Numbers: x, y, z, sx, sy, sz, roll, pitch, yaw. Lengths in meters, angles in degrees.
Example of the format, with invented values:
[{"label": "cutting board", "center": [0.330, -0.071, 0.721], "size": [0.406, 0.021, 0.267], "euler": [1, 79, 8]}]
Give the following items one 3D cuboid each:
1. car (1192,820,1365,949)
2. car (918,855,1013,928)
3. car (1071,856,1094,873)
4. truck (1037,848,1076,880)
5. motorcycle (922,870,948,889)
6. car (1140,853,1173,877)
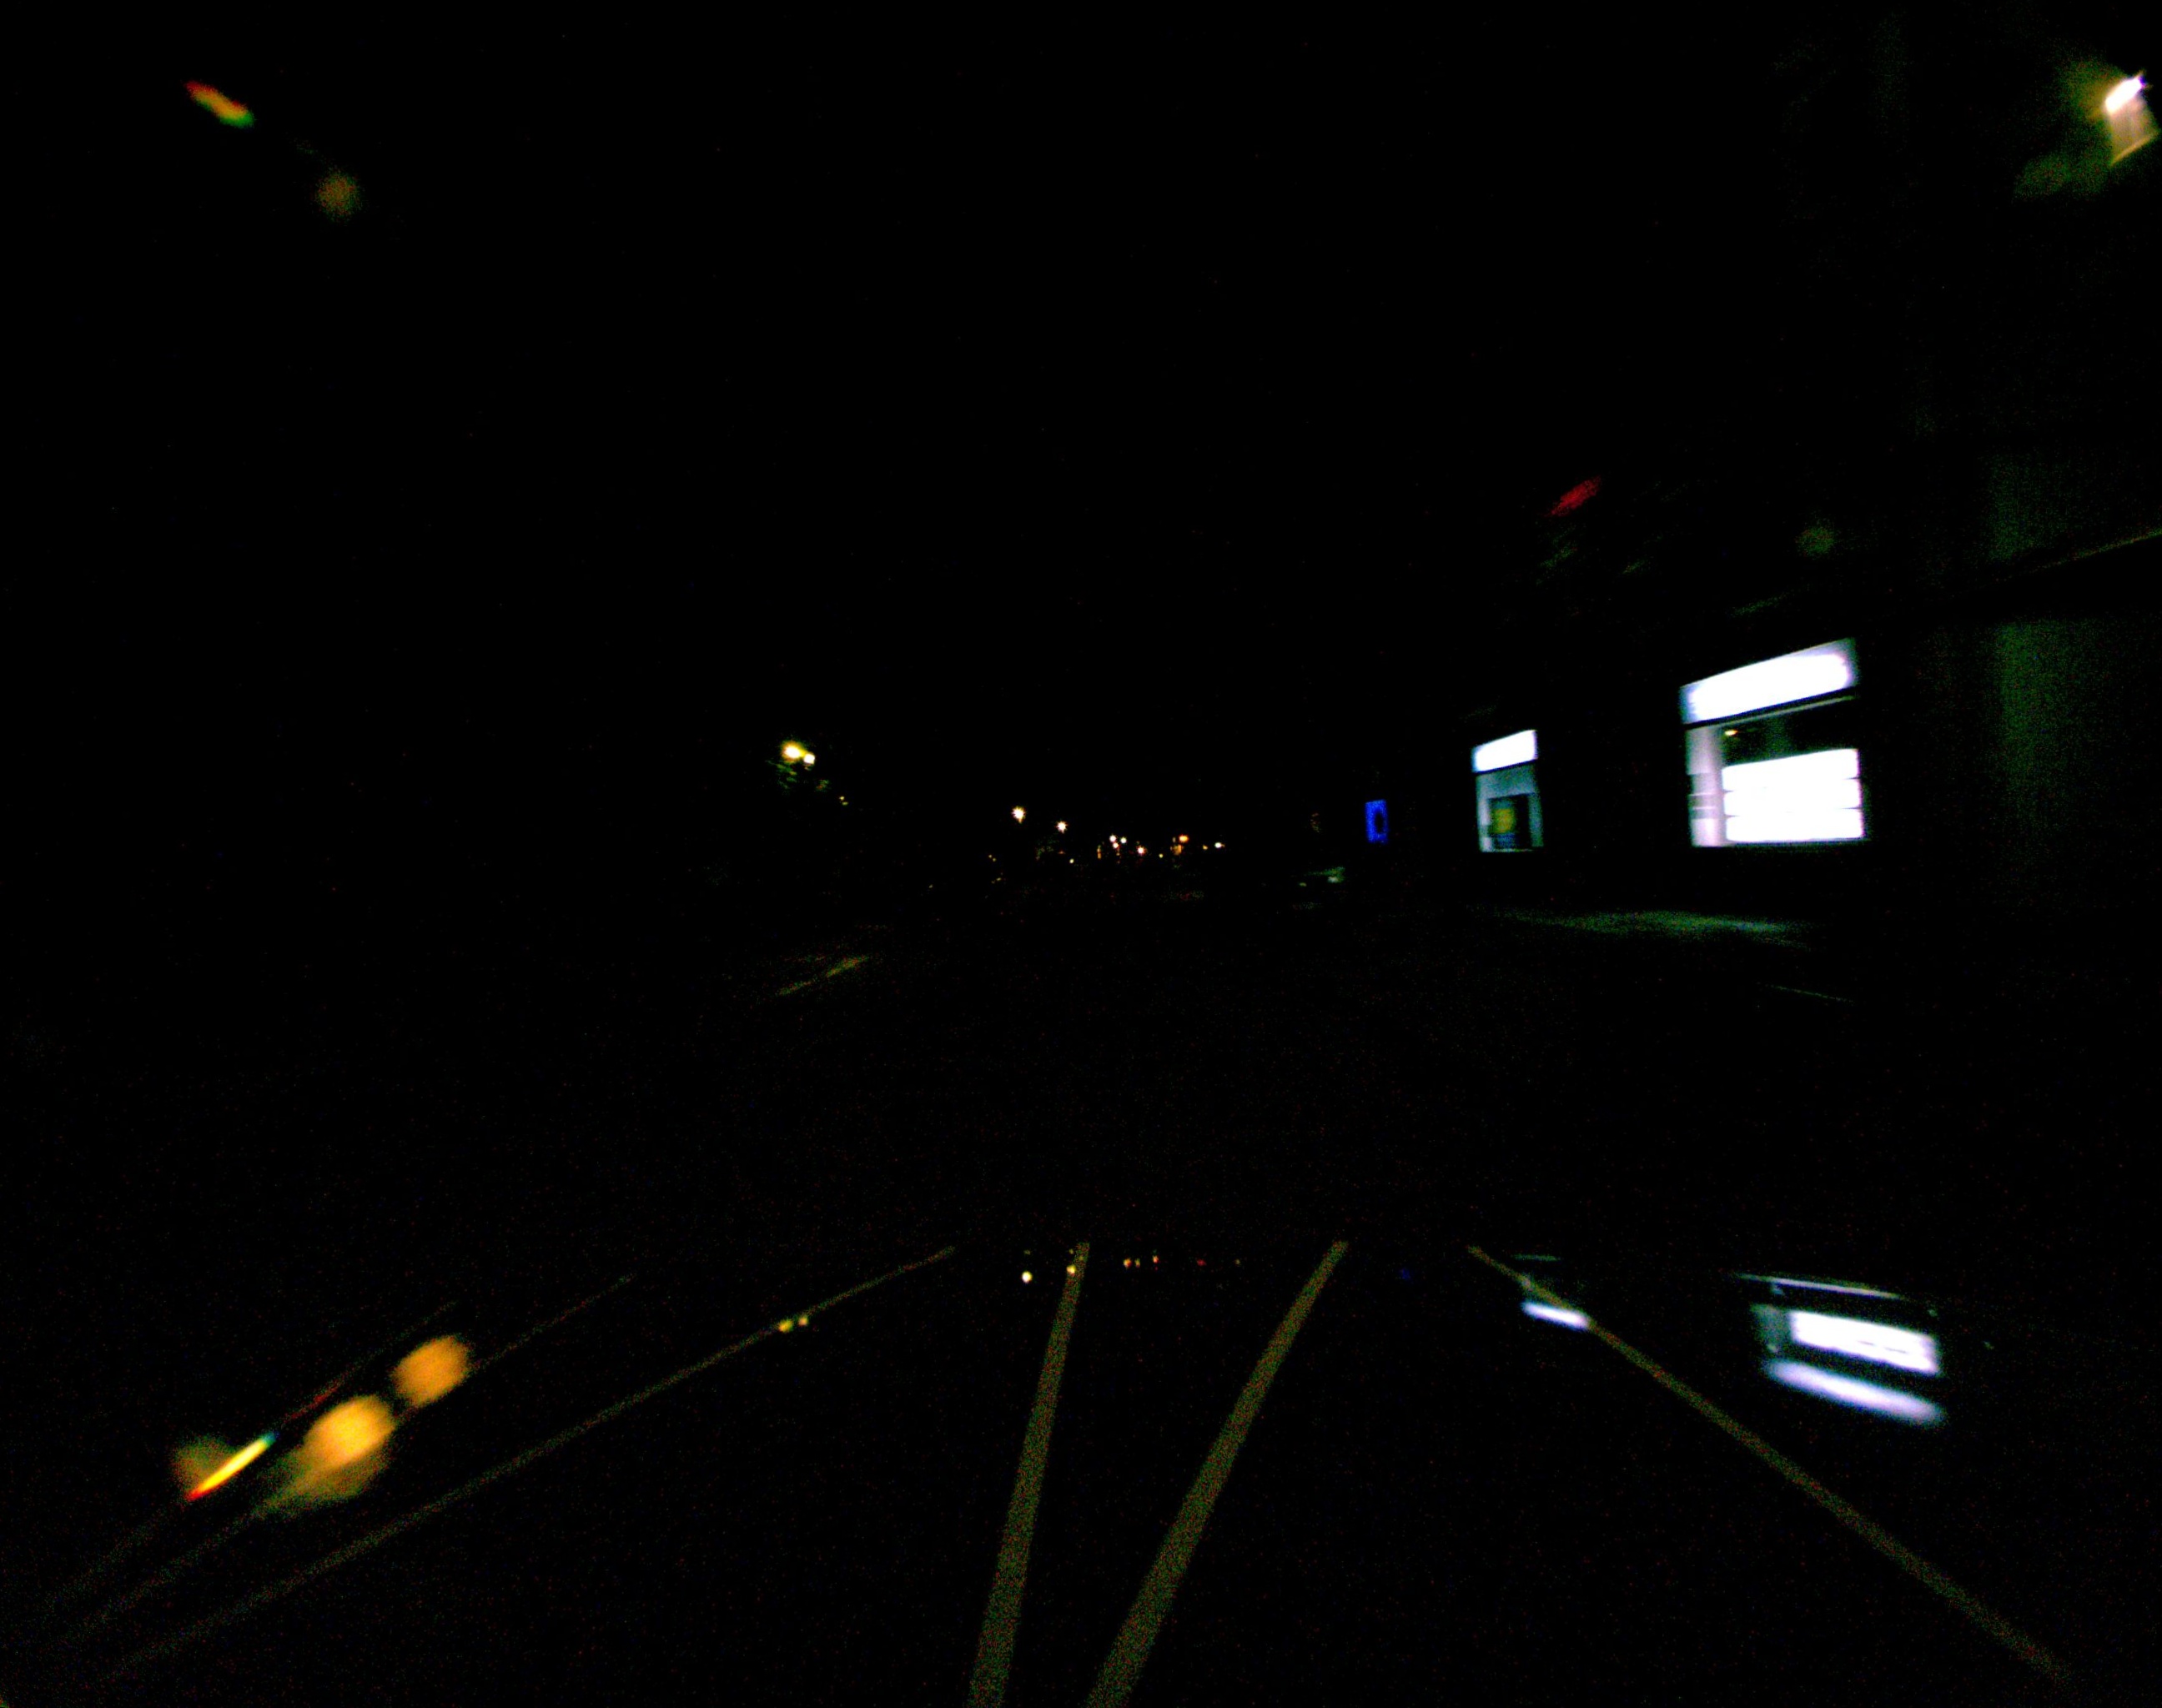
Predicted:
[{"label": "car", "center": [3.620, 0.506, 15.016], "size": [1.930, 1.953, 5.076], "euler": [-5, 0, 0]}, {"label": "car", "center": [-3.222, 0.980, 22.151], "size": [1.912, 1.792, 4.936], "euler": [-4, 0, 0]}, {"label": "car", "center": [0.147, 0.953, 71.986], "size": [1.737, 1.492, 4.002], "euler": [-4, 0, 6]}, {"label": "truck", "center": [-1.781, 0.724, 57.848], "size": [2.109, 2.230, 6.290], "euler": [-4, 0, 5]}, {"label": "motorcycle", "center": [-10.476, 1.836, 54.487], "size": [1.725, 1.244, 0.433], "euler": [-4, 0, -7]}, {"label": "car", "center": [5.203, 0.731, 52.689], "size": [1.795, 1.496, 4.000], "euler": [-5, 0, 1]}]
